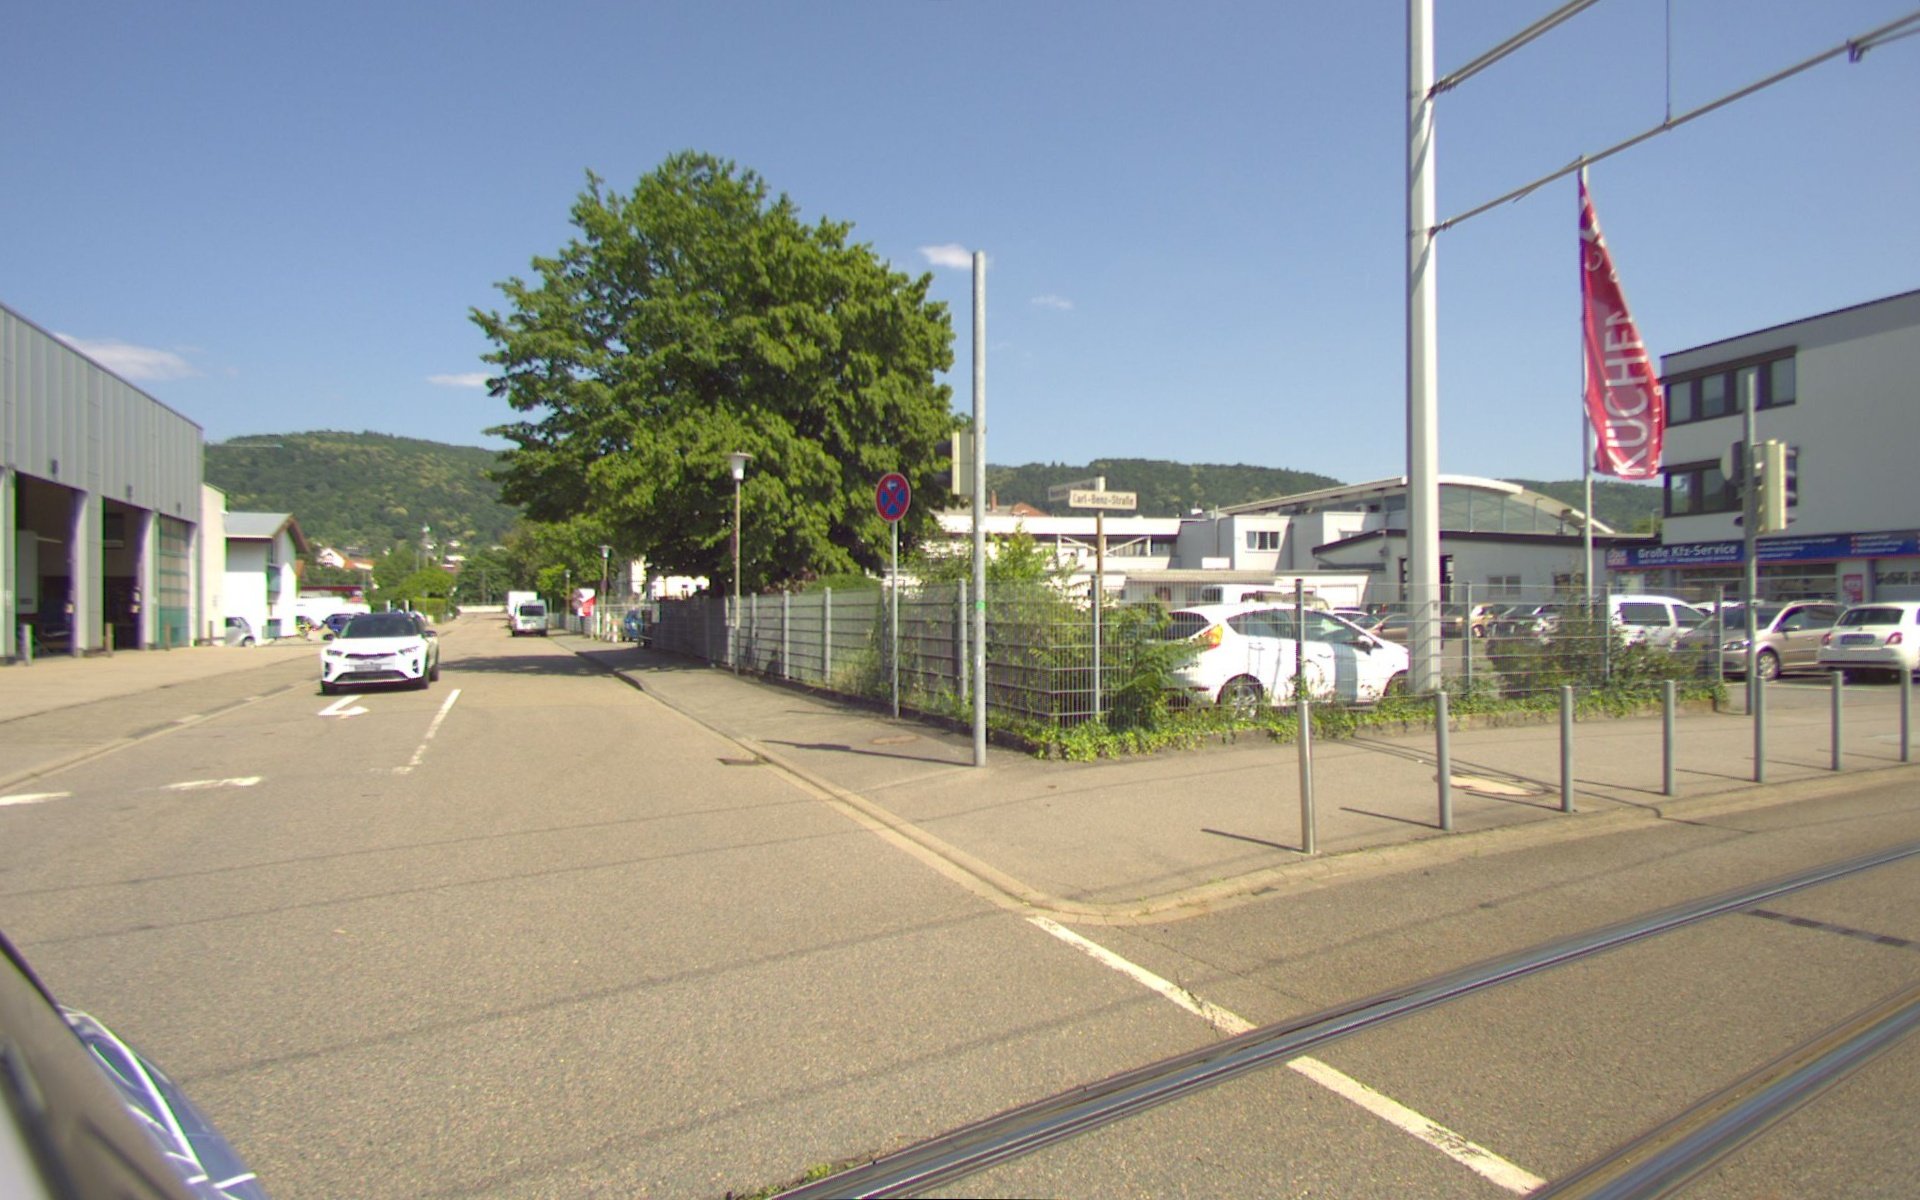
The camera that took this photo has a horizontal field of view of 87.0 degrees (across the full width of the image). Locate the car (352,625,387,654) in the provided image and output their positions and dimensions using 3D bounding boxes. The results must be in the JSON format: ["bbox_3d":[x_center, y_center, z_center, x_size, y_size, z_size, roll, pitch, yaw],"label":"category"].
[{"bbox_3d":[-30.674,2.041,52.606,1.428,1.389,3.197,0,-1,-27],"label":"car"}]

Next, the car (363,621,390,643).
[{"bbox_3d":[-43.670,2.392,75.678,1.429,1.507,3.195,-3,1,-35],"label":"car"}]

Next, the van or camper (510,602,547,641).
[{"bbox_3d":[-27.854,1.350,65.228,1.994,2.395,4.701,1,-1,-25],"label":"van or camper"}]

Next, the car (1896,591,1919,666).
[{"bbox_3d":[23.442,0.630,22.033,1.965,1.719,4.013,0,-1,-20],"label":"car"}]

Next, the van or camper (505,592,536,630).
[{"bbox_3d":[-40.486,1.043,93.136,2.483,3.396,5.610,0,-1,-25],"label":"van or camper"}]

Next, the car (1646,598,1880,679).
[{"bbox_3d":[16.891,0.770,21.345,3.869,1.580,1.862,0,-1,-14],"label":"car"}]

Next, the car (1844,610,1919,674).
[{"bbox_3d":[21.534,0.899,21.449,1.718,1.381,3.848,0,-1,-19],"label":"car"}]

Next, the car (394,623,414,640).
[{"bbox_3d":[-48.732,2.723,88.765,1.428,1.389,3.197,-2,1,-27],"label":"car"}]

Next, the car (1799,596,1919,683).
[{"bbox_3d":[18.419,0.711,19.360,3.771,1.553,1.746,0,-1,-15],"label":"car"}]

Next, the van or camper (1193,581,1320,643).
[{"bbox_3d":[11.592,0.455,39.587,4.523,2.323,1.787,0,0,-18],"label":"van or camper"}]

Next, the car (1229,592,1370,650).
[{"bbox_3d":[12.401,0.734,37.060,4.502,2.029,2.064,0,-1,-16],"label":"car"}]

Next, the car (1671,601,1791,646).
[{"bbox_3d":[25.647,0.769,33.683,3.081,1.437,1.425,0,-1,-10],"label":"car"}]

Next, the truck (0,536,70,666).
[{"bbox_3d":[-31.582,0.029,29.711,7.724,3.810,2.633,0,-1,-24],"label":"truck"}]

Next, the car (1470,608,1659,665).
[{"bbox_3d":[15.358,0.900,25.788,3.933,1.369,1.852,0,-1,-14],"label":"car"}]

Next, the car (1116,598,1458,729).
[{"bbox_3d":[4.100,0.726,12.711,3.886,1.444,1.719,1,0,-22],"label":"car"}]

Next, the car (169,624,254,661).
[{"bbox_3d":[-32.861,1.861,44.485,1.302,1.546,2.805,-2,-2,18],"label":"car"}]

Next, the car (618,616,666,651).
[{"bbox_3d":[-14.794,1.508,46.980,1.617,1.469,3.537,-2,1,-26],"label":"car"}]

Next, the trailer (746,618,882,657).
[{"bbox_3d":[-3.856,0.951,26.615,3.235,0.946,1.618,0,-1,-22],"label":"trailer"}]

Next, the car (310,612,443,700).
[{"bbox_3d":[-11.444,1.016,20.110,1.707,1.541,4.123,0,-1,-22],"label":"car"}]

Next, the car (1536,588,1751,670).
[{"bbox_3d":[15.910,0.647,23.643,3.933,1.798,2.005,0,-1,-14],"label":"car"}]

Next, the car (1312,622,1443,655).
[{"bbox_3d":[13.199,1.197,32.040,3.429,0.991,1.754,0,-1,-14],"label":"car"}]

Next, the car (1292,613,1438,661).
[{"bbox_3d":[14.007,1.244,35.065,4.350,1.569,1.997,0,-1,-15],"label":"car"}]

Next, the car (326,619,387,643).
[{"bbox_3d":[-35.896,1.832,60.272,2.926,1.350,1.458,0,-1,-24],"label":"car"}]
